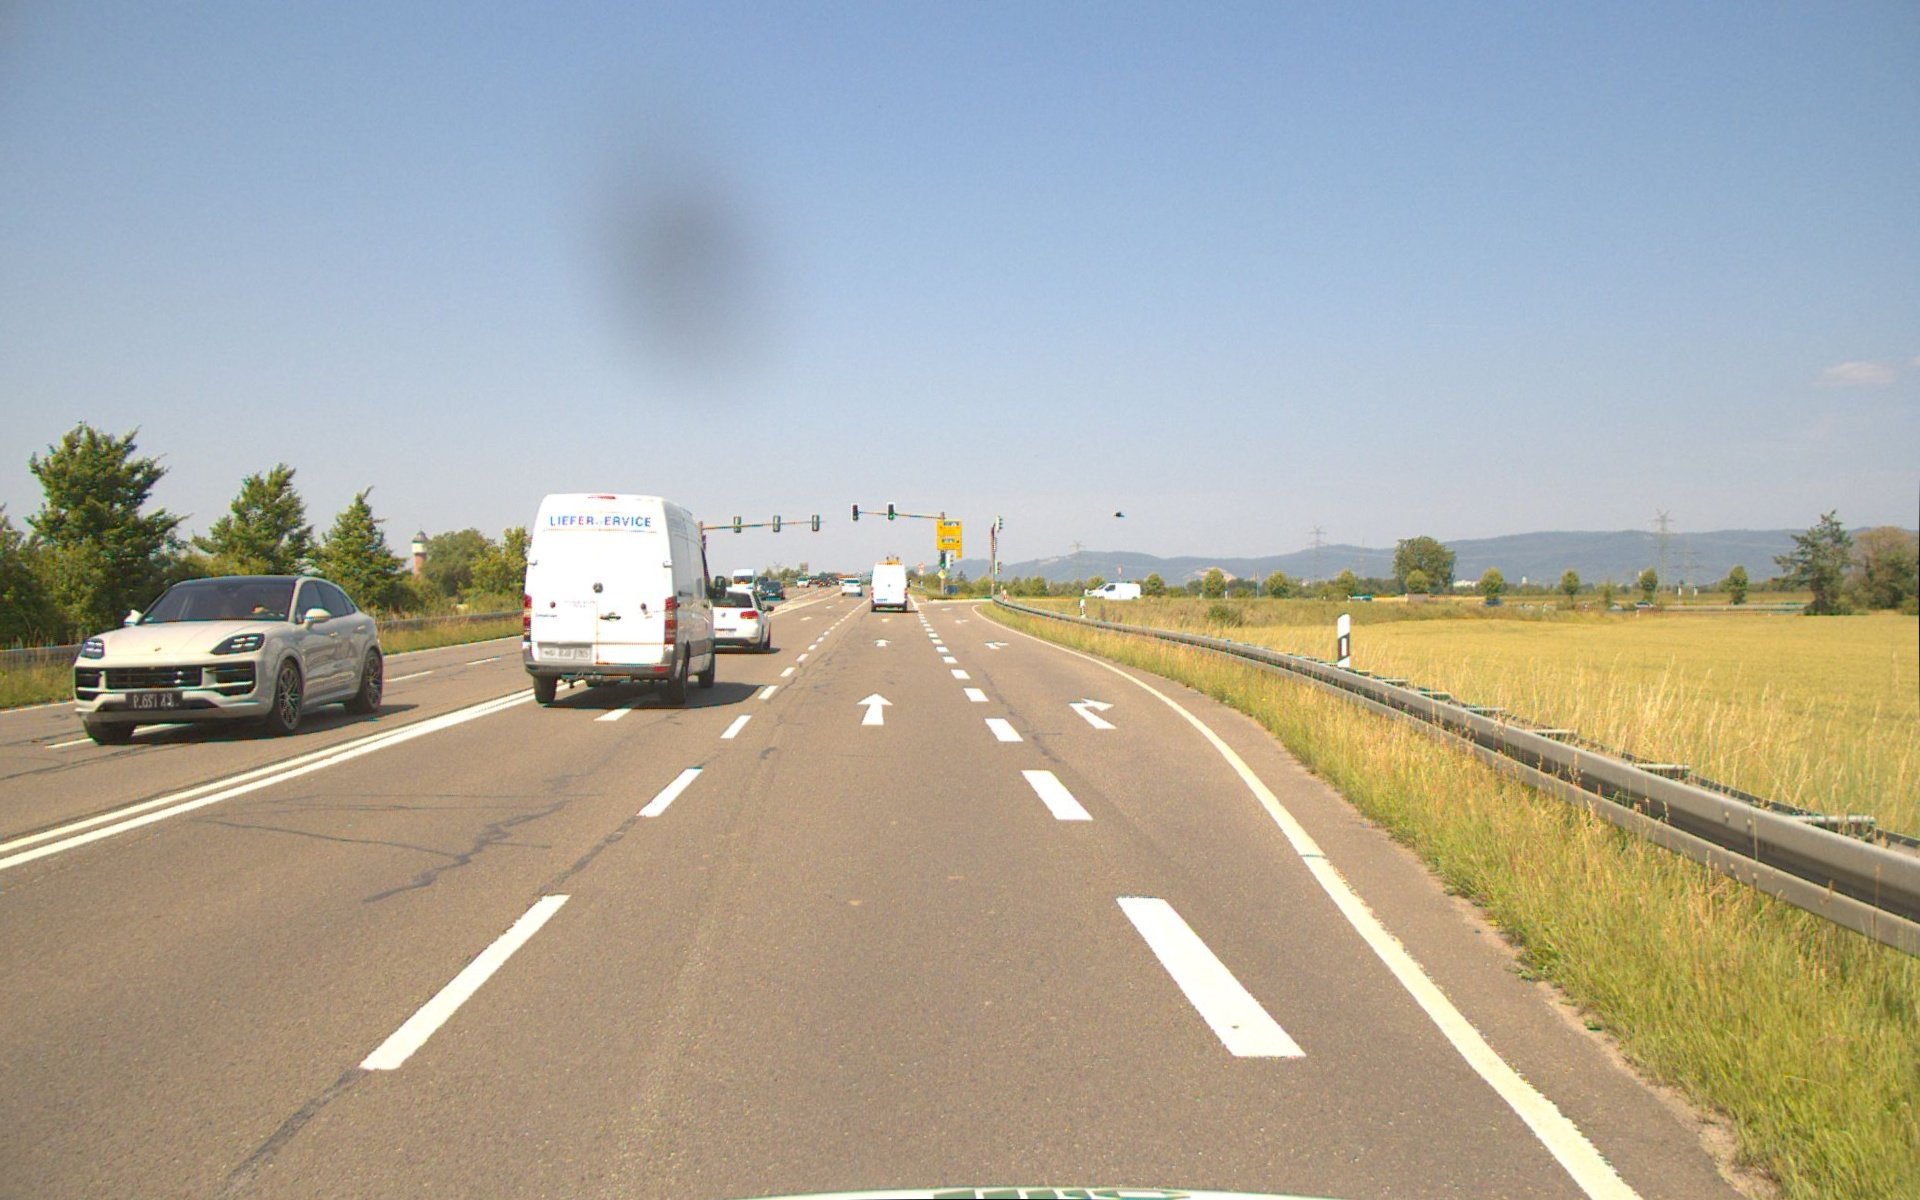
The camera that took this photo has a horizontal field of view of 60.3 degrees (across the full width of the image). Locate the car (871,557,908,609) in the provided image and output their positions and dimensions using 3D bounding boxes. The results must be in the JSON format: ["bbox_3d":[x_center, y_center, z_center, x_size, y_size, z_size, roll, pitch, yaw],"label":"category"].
[{"bbox_3d":[-3.829,-0.890,89.558,1.954,2.742,4.967,0,0,-3],"label":"car"}]

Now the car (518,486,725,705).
[{"bbox_3d":[-4.536,-0.057,23.071,1.998,2.666,5.737,0,0,-3],"label":"car"}]

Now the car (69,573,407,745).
[{"bbox_3d":[-7.780,0.559,18.408,1.803,1.615,4.873,-1,0,-3],"label":"car"}]

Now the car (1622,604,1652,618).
[{"bbox_3d":[78.624,1.292,192.026,3.440,1.512,1.631,2,-1,-33],"label":"car"}]

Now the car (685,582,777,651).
[{"bbox_3d":[-5.343,0.341,38.969,1.763,1.534,4.194,0,1,-3],"label":"car"}]

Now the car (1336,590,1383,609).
[{"bbox_3d":[37.353,-0.049,154.822,3.938,1.713,1.983,2,-1,-26],"label":"car"}]

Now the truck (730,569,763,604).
[{"bbox_3d":[-18.959,-1.184,147.108,2.250,3.009,5.281,1,-1,-1],"label":"truck"}]

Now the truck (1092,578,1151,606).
[{"bbox_3d":[14.315,-0.722,146.872,4.767,2.361,1.990,2,-1,-17],"label":"truck"}]

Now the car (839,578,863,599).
[{"bbox_3d":[-9.698,-1.025,147.275,1.953,1.733,4.273,1,-1,-2],"label":"car"}]

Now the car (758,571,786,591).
[{"bbox_3d":[-15.002,-1.505,131.921,1.820,1.448,3.999,1,-1,-1],"label":"car"}]
